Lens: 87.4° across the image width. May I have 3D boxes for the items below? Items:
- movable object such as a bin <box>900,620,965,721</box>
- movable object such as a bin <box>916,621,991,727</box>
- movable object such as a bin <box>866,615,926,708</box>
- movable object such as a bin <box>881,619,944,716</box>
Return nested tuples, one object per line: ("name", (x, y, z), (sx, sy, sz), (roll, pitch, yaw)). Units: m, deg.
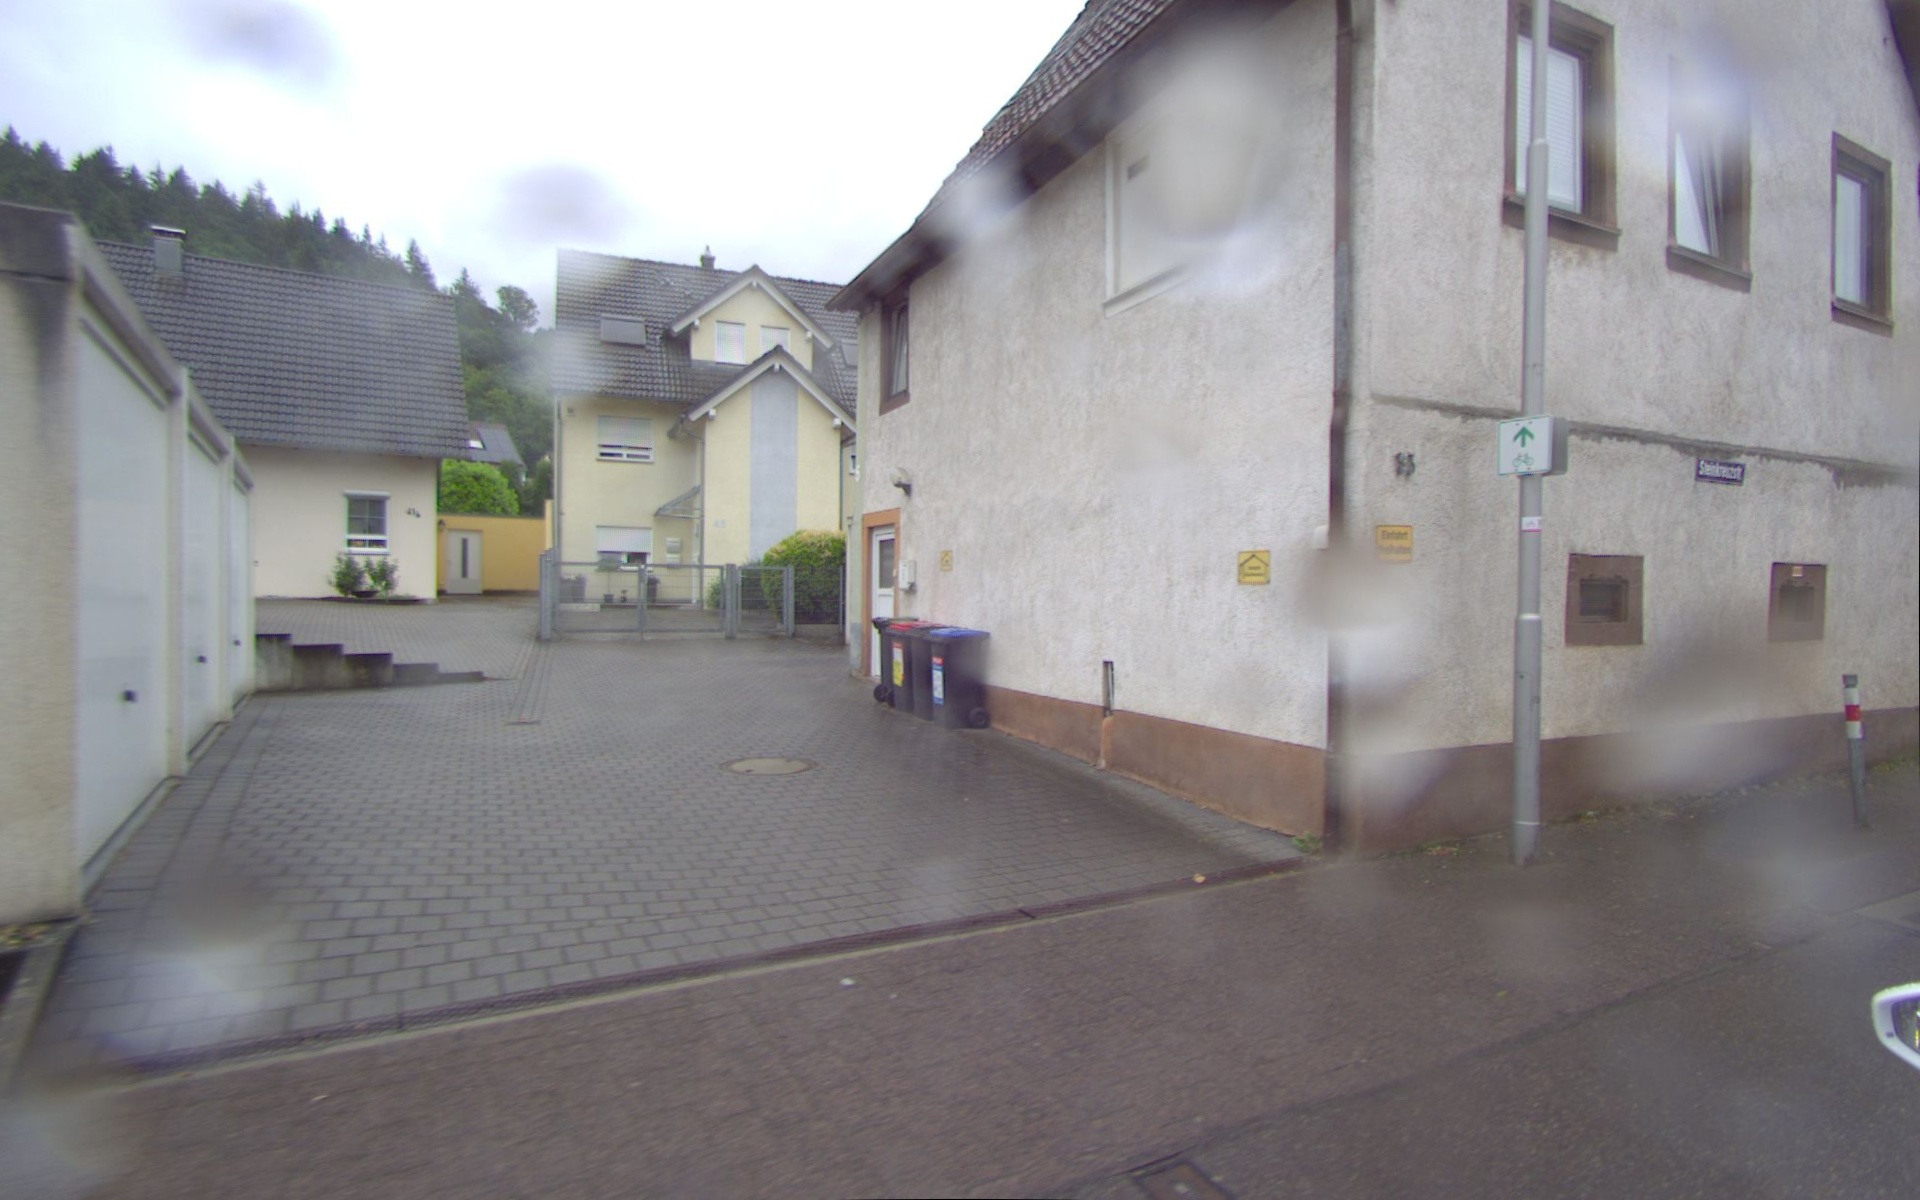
("movable object such as a bin", (-0.284, 0.696, 10.130), (0.502, 0.963, 0.448), (0, 3, -27))
("movable object such as a bin", (-0.065, 0.697, 9.686), (0.547, 0.963, 0.486), (0, 2, -27))
("movable object such as a bin", (-0.705, 0.661, 10.974), (0.502, 0.963, 0.448), (0, 3, -27))
("movable object such as a bin", (-0.502, 0.691, 10.544), (0.502, 0.963, 0.448), (0, 3, -27))
